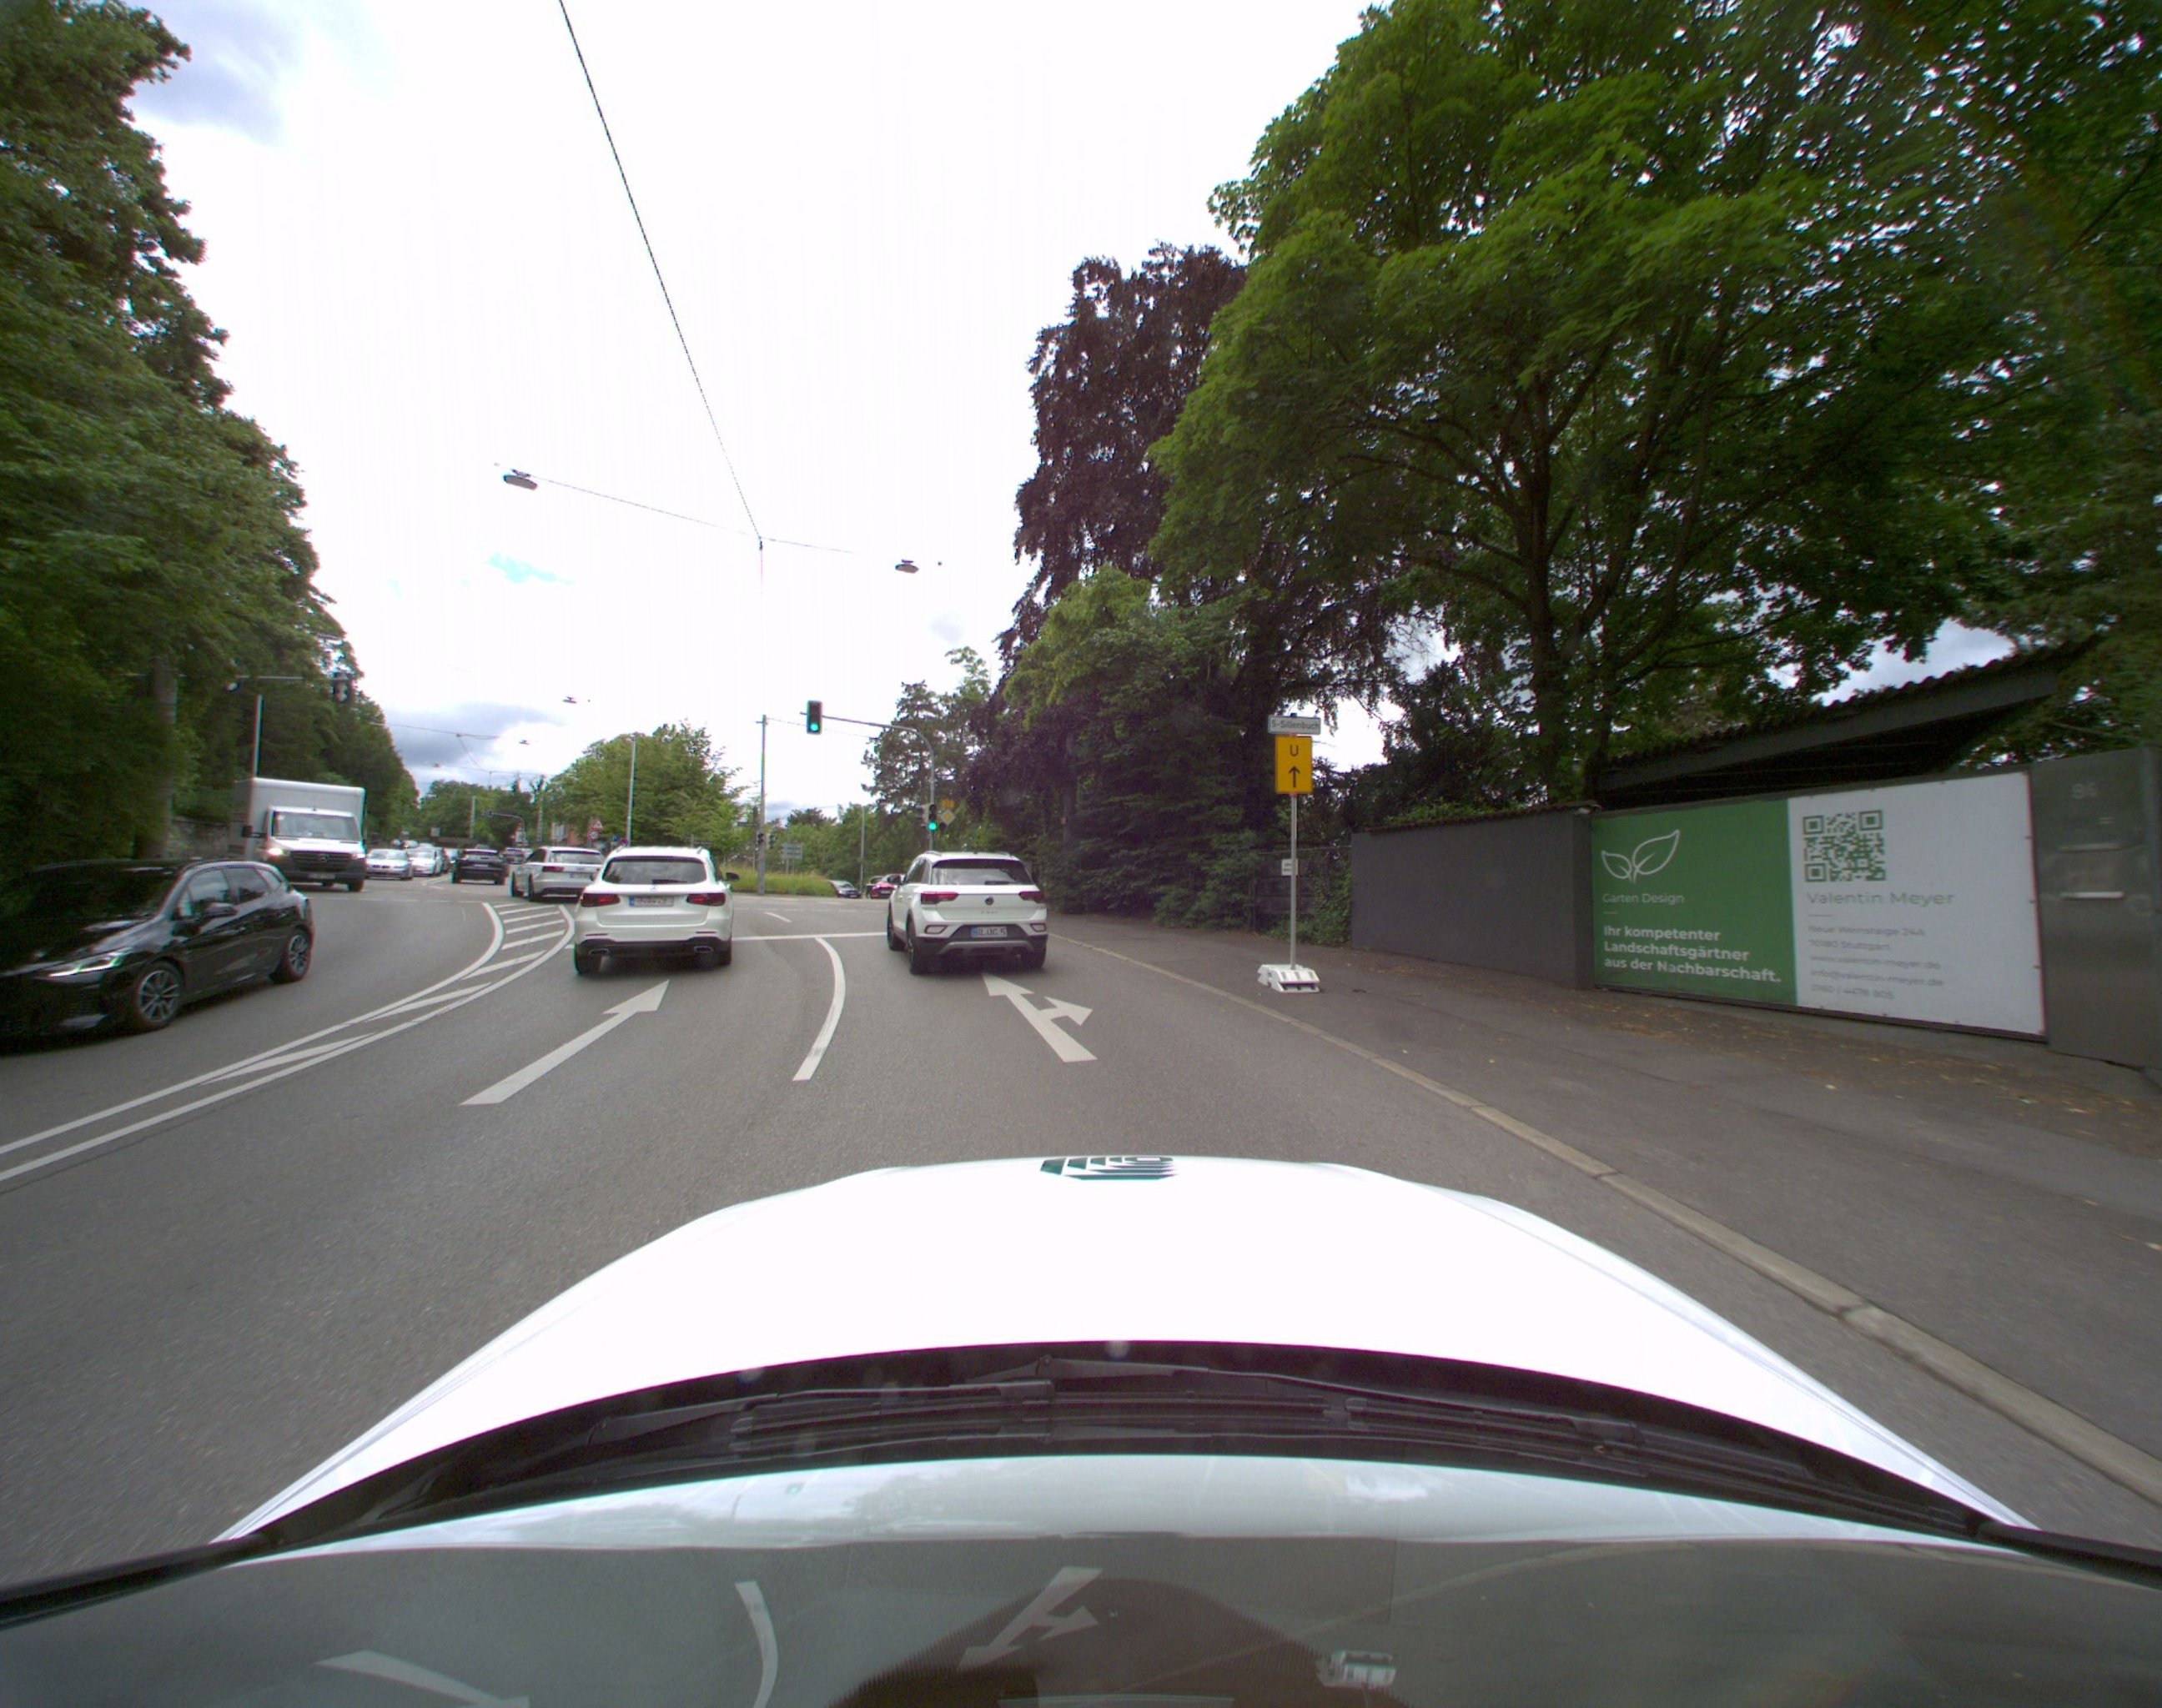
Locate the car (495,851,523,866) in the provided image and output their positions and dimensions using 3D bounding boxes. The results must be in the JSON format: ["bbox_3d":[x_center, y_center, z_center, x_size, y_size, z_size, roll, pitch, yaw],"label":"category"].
[{"bbox_3d":[-60.277,0.480,85.797,3.502,1.451,1.662,1,-2,43],"label":"car"}]

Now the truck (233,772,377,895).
[{"bbox_3d":[-22.462,-0.619,23.469,6.264,3.088,2.425,2,2,41],"label":"truck"}]

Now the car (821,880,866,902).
[{"bbox_3d":[-17.087,2.664,58.514,1.730,1.486,3.954,3,-5,-37],"label":"car"}]

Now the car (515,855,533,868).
[{"bbox_3d":[-67.884,0.877,99.252,1.659,1.451,3.507,4,-2,-37],"label":"car"}]

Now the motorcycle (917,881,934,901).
[{"bbox_3d":[-9.127,2.169,47.904,0.596,1.152,1.582,-1,-2,3],"label":"motorcycle"}]

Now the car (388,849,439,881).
[{"bbox_3d":[-38.988,0.668,47.666,2.008,1.637,4.348,6,-4,-37],"label":"car"}]

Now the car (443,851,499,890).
[{"bbox_3d":[-29.256,0.748,38.995,1.802,1.636,3.693,5,-2,-41],"label":"car"}]

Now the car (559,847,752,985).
[{"bbox_3d":[-6.085,0.717,12.215,1.865,1.605,4.641,-1,1,-19],"label":"car"}]

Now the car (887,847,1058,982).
[{"bbox_3d":[-1.781,0.724,11.965,1.759,1.552,4.311,-1,0,-18],"label":"car"}]

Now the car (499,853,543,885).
[{"bbox_3d":[-33.177,0.877,48.203,1.648,1.820,3.952,1,-1,-42],"label":"car"}]

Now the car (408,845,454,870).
[{"bbox_3d":[-44.854,0.261,56.254,1.906,1.567,4.433,5,-4,-32],"label":"car"}]

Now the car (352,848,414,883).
[{"bbox_3d":[-32.997,0.549,38.626,1.769,1.443,4.430,6,-4,-36],"label":"car"}]

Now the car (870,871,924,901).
[{"bbox_3d":[-9.708,1.729,43.264,1.659,1.468,3.959,-1,-4,5],"label":"car"}]

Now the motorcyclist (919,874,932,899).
[{"bbox_3d":[-9.140,1.916,47.865,0.597,1.430,0.757,-1,-2,2],"label":"motorcyclist"}]

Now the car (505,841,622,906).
[{"bbox_3d":[-14.317,0.476,22.398,1.881,1.534,4.719,2,0,-42],"label":"car"}]

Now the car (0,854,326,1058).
[{"bbox_3d":[-9.772,0.850,8.397,1.611,1.573,4.031,-2,2,-24],"label":"car"}]
